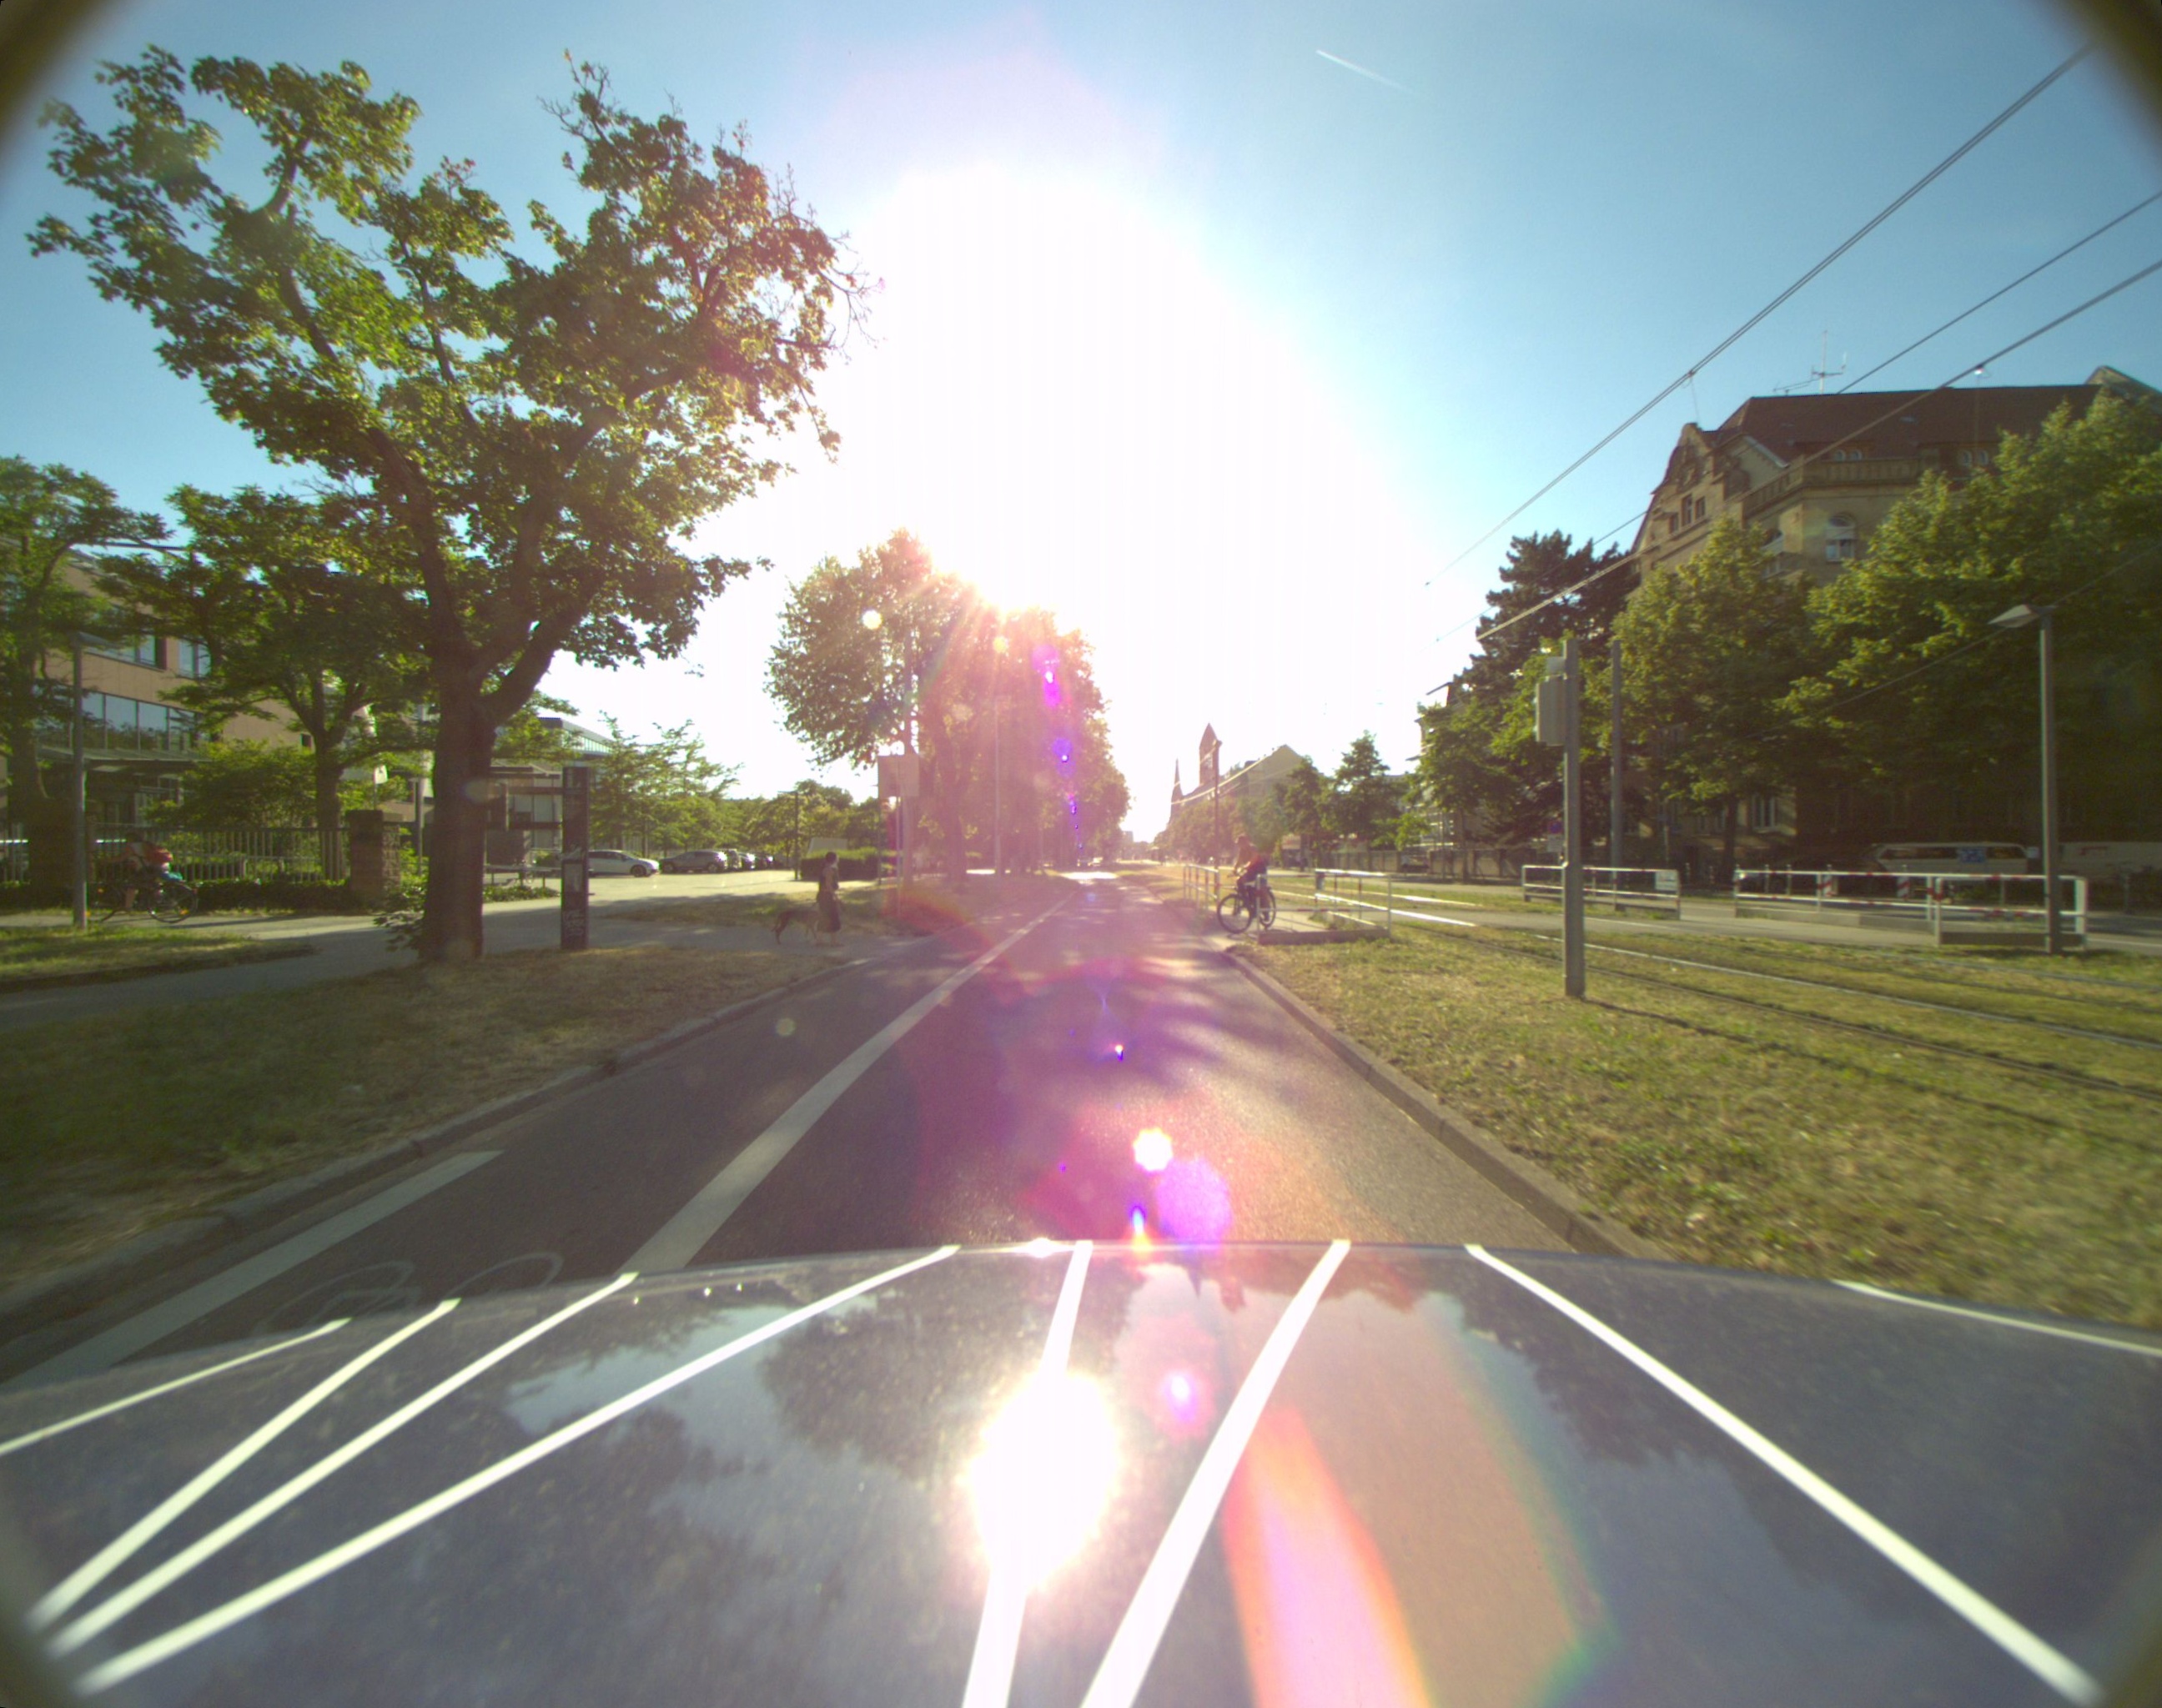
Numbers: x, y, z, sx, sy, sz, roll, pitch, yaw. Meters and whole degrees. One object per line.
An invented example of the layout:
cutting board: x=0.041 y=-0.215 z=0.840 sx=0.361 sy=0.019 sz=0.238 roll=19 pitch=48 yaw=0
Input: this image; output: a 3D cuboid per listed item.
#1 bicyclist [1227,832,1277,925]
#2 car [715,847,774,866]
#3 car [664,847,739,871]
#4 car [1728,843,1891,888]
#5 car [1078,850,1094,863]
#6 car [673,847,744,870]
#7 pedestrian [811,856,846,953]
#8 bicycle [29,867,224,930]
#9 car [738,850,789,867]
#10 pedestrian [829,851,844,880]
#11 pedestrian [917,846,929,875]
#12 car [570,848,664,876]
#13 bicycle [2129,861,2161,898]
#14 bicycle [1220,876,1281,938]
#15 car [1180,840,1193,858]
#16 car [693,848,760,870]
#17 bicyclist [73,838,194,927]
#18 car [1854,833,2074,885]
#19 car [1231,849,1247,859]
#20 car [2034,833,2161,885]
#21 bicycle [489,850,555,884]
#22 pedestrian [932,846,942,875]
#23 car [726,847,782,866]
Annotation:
bicyclist: x=3.239 y=0.459 z=14.363 sx=0.720 sy=1.704 sz=0.747 roll=-2 pitch=1 yaw=23
car: x=-28.127 y=0.205 z=63.616 sx=4.393 sy=1.616 sz=1.797 roll=0 pitch=1 yaw=-19
car: x=-25.889 y=0.313 z=51.955 sx=4.393 sy=1.616 sz=1.797 roll=0 pitch=1 yaw=-19
car: x=26.930 y=0.438 z=28.283 sx=3.990 sy=1.502 sz=1.802 roll=-2 pitch=1 yaw=24
car: x=0.627 y=0.345 z=98.132 sx=1.798 sy=1.501 sz=4.001 roll=-2 pitch=0 yaw=3
car: x=-26.860 y=0.305 z=54.940 sx=4.393 sy=1.616 sz=1.797 roll=0 pitch=1 yaw=-19
pedestrian: x=-4.425 y=0.871 z=13.305 sx=0.532 sy=1.653 sz=0.486 roll=1 pitch=0 yaw=-20
bicycle: x=-17.101 y=0.797 z=13.666 sx=2.291 sy=1.050 sz=0.618 roll=2 pitch=0 yaw=-12
car: x=-30.833 y=0.378 z=73.886 sx=4.393 sy=1.616 sz=1.797 roll=0 pitch=1 yaw=-19
pedestrian: x=-12.189 y=0.590 z=37.885 sx=0.550 sy=1.434 sz=0.513 roll=0 pitch=1 yaw=0
pedestrian: x=-10.065 y=0.426 z=48.357 sx=0.645 sy=1.830 sz=0.565 roll=0 pitch=1 yaw=1
car: x=-26.152 y=0.437 z=42.977 sx=4.152 sy=1.501 sz=1.797 roll=0 pitch=1 yaw=-16
bicycle: x=28.333 y=0.667 z=19.188 sx=0.712 sy=0.904 sz=2.079 roll=-3 pitch=1 yaw=-20
bicycle: x=3.227 y=0.965 z=14.303 sx=0.720 sy=0.973 sz=2.065 roll=-2 pitch=0 yaw=23
car: x=16.728 y=-0.751 z=120.634 sx=1.798 sy=2.766 sz=4.000 roll=0 pitch=1 yaw=2
car: x=-26.818 y=0.361 z=57.608 sx=4.393 sy=1.616 sz=1.797 roll=0 pitch=1 yaw=-19
bicyclist: x=-17.018 y=0.504 z=13.673 sx=1.207 sy=1.530 sz=0.618 roll=2 pitch=0 yaw=-12
car: x=33.239 y=0.188 z=28.868 sx=5.058 sy=1.814 sz=2.026 roll=-1 pitch=2 yaw=28
car: x=25.002 y=-0.032 z=120.636 sx=1.798 sy=1.501 sz=4.000 roll=0 pitch=0 yaw=1
car: x=39.457 y=0.159 z=28.099 sx=2.026 sy=1.814 sz=5.058 roll=-3 pitch=2 yaw=-33
bicycle: x=-23.353 y=0.517 z=31.820 sx=0.746 sy=1.382 sz=2.637 roll=0 pitch=0 yaw=1
pedestrian: x=-9.149 y=0.426 z=48.367 sx=0.502 sy=1.830 sz=0.565 roll=0 pitch=1 yaw=1
car: x=-28.674 y=0.175 z=66.815 sx=4.393 sy=1.616 sz=1.797 roll=0 pitch=1 yaw=-19
